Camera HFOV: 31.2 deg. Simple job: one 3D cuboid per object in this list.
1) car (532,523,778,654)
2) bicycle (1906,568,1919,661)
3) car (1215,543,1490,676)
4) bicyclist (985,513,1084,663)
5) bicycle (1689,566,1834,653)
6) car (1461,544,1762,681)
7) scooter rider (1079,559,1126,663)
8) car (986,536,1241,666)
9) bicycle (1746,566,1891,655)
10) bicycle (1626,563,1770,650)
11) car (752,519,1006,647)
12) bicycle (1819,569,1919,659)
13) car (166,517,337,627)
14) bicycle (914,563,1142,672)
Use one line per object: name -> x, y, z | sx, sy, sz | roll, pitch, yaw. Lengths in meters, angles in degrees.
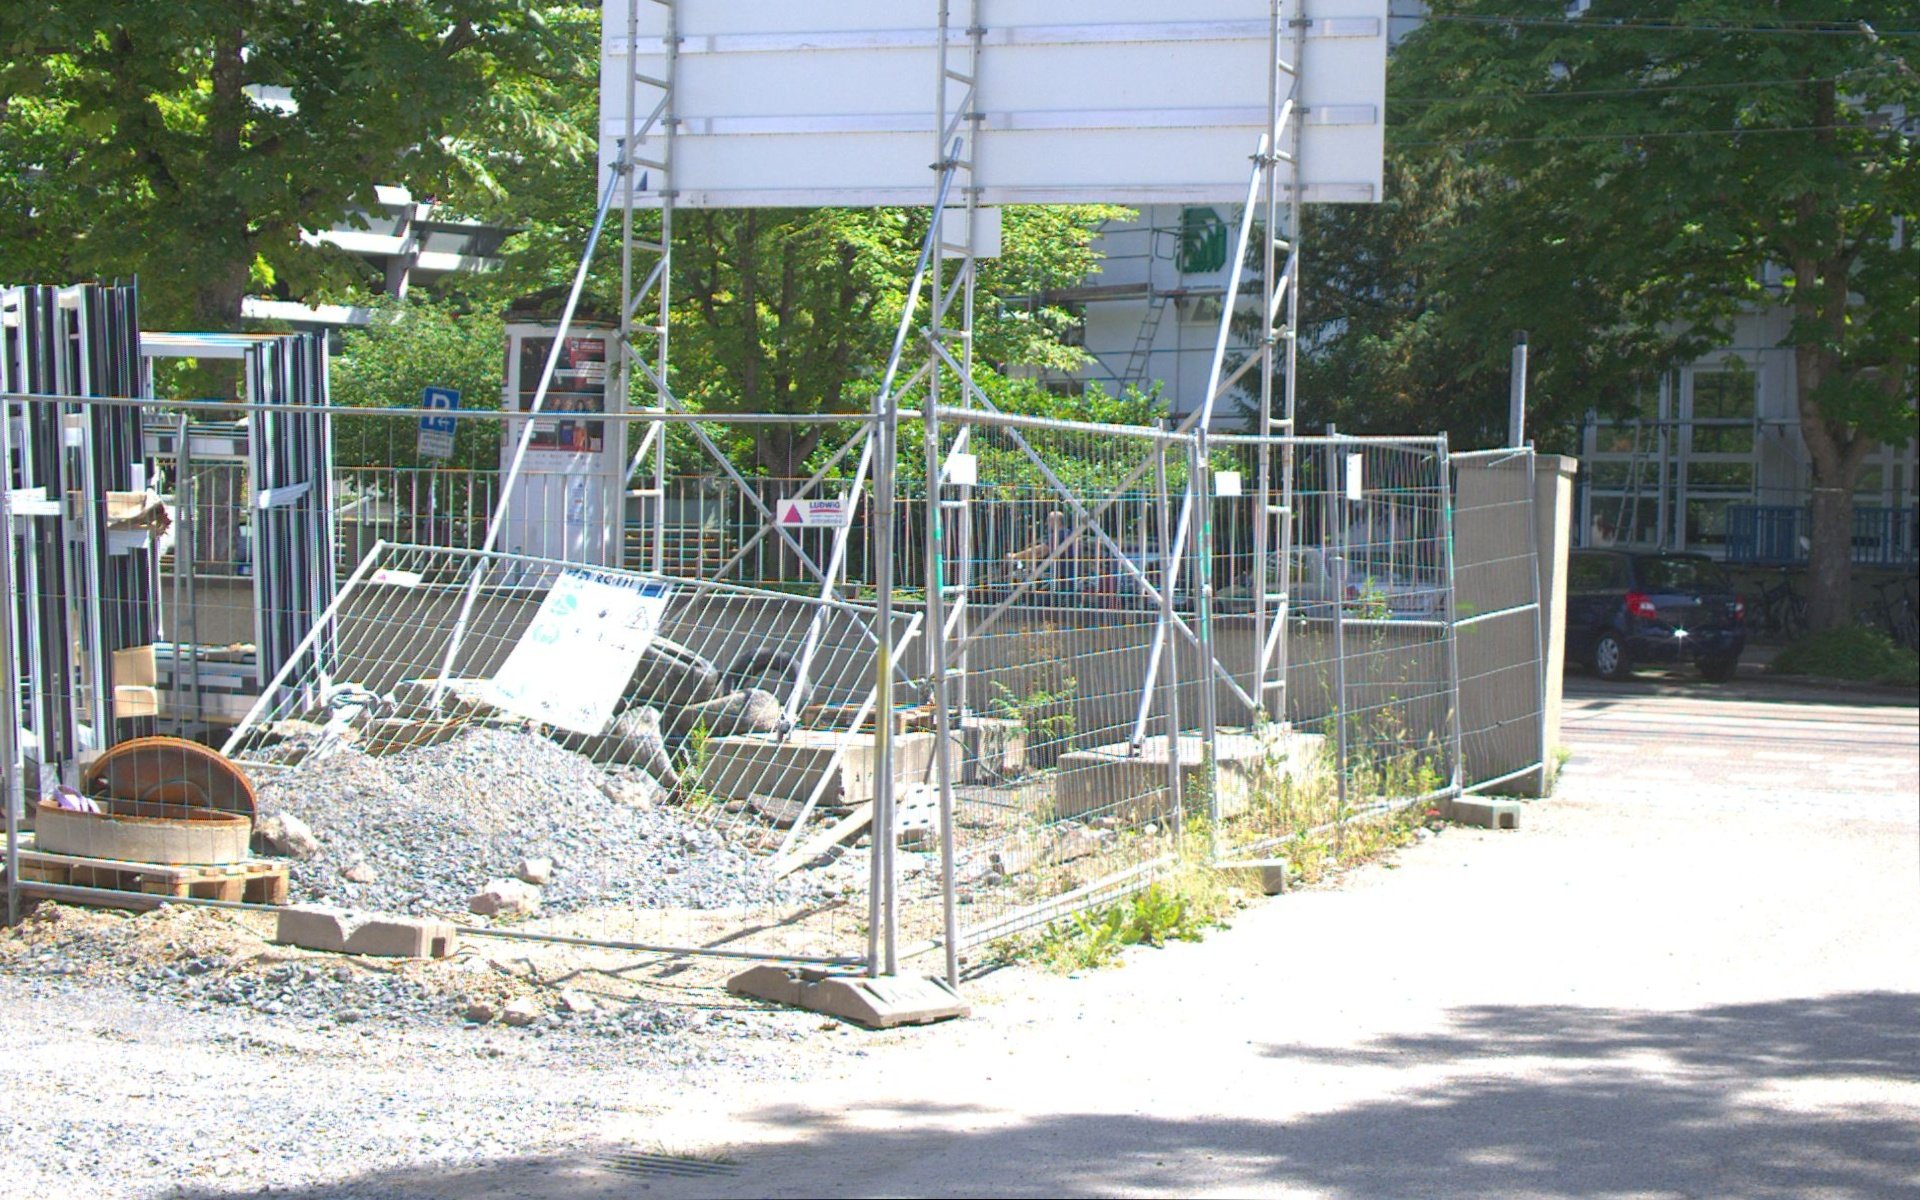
car -> -3.661, -0.159, 40.735 | 1.633, 1.458, 3.679 | 1, 1, -27
bicycle -> 13.287, 0.193, 44.723 | 0.782, 1.184, 2.425 | 2, 1, 44
car -> 4.581, 0.085, 40.632 | 1.632, 1.458, 3.679 | 1, 1, -22
bicyclist -> 0.845, -0.142, 38.784 | 0.898, 1.660, 0.858 | 1, 1, 17
bicycle -> 10.951, 0.129, 46.937 | 0.782, 1.154, 2.378 | 2, 1, 44
car -> 7.438, 0.116, 39.587 | 1.632, 1.458, 3.679 | 1, 1, -22
scooter rider -> 1.569, 0.118, 37.731 | 0.416, 1.130, 0.359 | 1, 1, 17
car -> 1.791, -0.012, 41.308 | 1.632, 1.458, 3.679 | 1, 1, -22
bicycle -> 11.577, 0.146, 46.310 | 0.782, 1.154, 2.378 | 2, 1, 44
bicycle -> 10.239, 0.090, 47.645 | 0.782, 1.154, 2.378 | 2, 1, 44
car -> -1.031, -0.232, 41.637 | 1.633, 1.458, 3.679 | 1, 1, -27
bicycle -> 12.370, 0.186, 45.556 | 0.782, 1.154, 2.378 | 2, 1, 44
car -> -9.447, -0.396, 45.662 | 1.632, 1.382, 3.679 | 1, 1, -21
bicycle -> 0.768, 0.186, 38.802 | 2.434, 1.148, 0.785 | 2, 1, 17
